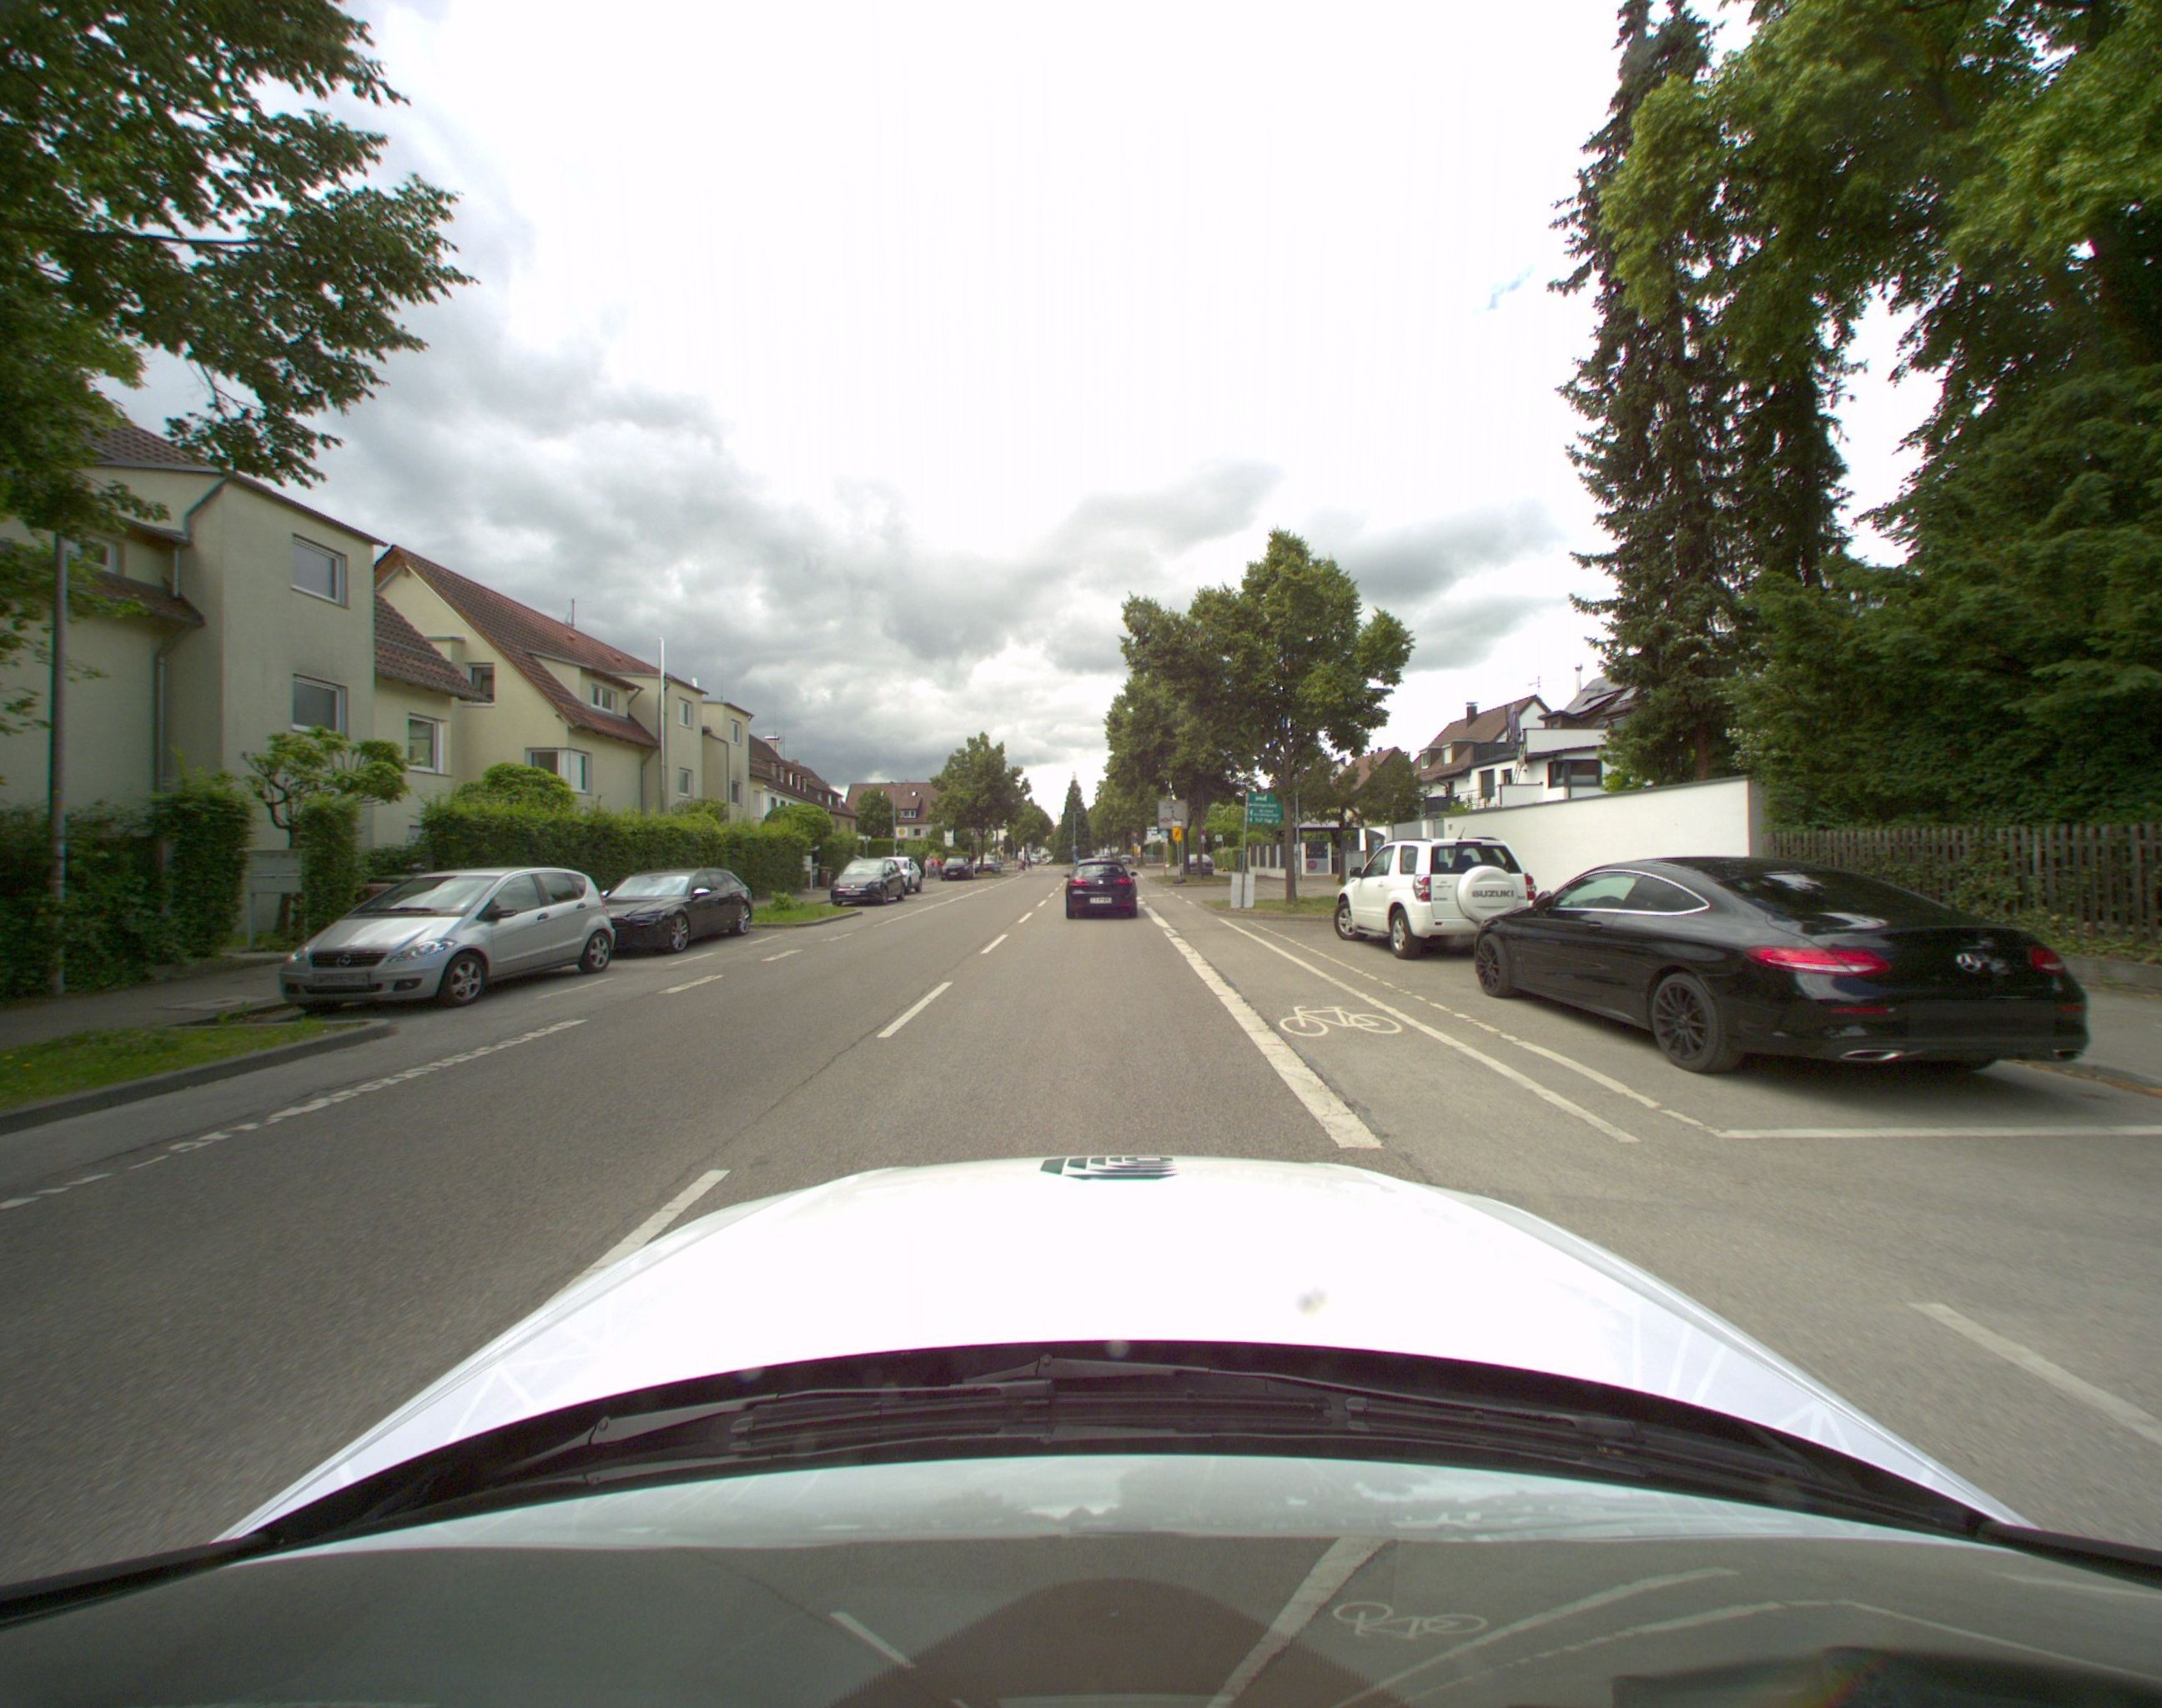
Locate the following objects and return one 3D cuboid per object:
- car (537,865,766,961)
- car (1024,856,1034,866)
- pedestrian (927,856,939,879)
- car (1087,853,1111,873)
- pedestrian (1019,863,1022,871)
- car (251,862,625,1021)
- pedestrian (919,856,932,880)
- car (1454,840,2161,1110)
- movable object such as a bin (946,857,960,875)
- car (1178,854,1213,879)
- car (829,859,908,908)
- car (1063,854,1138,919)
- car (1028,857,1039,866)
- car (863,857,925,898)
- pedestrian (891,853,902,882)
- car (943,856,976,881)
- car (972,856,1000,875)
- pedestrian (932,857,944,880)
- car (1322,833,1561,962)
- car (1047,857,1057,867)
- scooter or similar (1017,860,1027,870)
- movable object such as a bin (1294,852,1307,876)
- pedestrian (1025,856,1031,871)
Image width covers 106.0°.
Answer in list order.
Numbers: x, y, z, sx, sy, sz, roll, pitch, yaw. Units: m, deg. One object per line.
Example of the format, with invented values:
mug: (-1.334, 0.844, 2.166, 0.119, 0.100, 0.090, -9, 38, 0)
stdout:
car: (-8.106, 1.014, 16.025, 1.988, 1.485, 4.886, -2, 0, -2)
car: (-10.809, 1.416, 169.447, 2.025, 1.970, 3.997, -2, 0, -2)
pedestrian: (-10.978, 1.017, 60.327, 0.786, 1.663, 0.590, -1, 0, -7)
car: (1.583, 0.783, 69.635, 1.986, 1.613, 4.001, -1, 0, 2)
pedestrian: (-6.502, 1.398, 87.771, 0.239, 0.894, 0.257, 0, 0, -25)
car: (-7.927, 0.948, 10.609, 1.712, 1.613, 3.910, -2, 0, 0)
pedestrian: (-11.240, 1.018, 58.870, 0.786, 1.663, 0.879, -1, 0, -7)
car: (4.921, 0.643, 6.643, 1.855, 1.417, 4.606, -1, 0, 3)
movable object such as a bin: (-12.011, 1.159, 76.474, 1.202, 1.651, 0.997, 1, -1, -2)
car: (6.906, 0.782, 49.511, 1.606, 1.377, 4.387, -1, -2, 1)
car: (-7.354, 0.961, 28.637, 1.672, 1.552, 4.271, -1, 0, -1)
car: (0.570, 0.768, 20.968, 1.725, 1.486, 4.003, -1, 0, 3)
car: (-8.824, 1.440, 151.349, 1.792, 1.601, 3.999, -2, 0, -1)
car: (-8.164, 0.994, 35.965, 1.816, 1.634, 4.582, -2, 0, -2)
pedestrian: (-11.566, 0.838, 51.158, 0.502, 1.806, 0.671, -1, 0, 0)
car: (-8.535, 0.993, 57.505, 1.719, 1.725, 4.562, -1, 0, -1)
car: (-8.597, 1.020, 73.950, 1.854, 1.653, 4.295, -1, 0, 1)
pedestrian: (-10.454, 1.037, 59.441, 0.786, 1.663, 0.752, -1, -1, -7)
car: (5.302, 0.583, 12.659, 1.894, 1.642, 4.116, -1, -1, 1)
car: (-4.815, 1.375, 135.491, 1.563, 1.634, 3.621, -1, 0, 0)
scooter or similar: (-6.390, 1.217, 88.132, 0.971, 1.095, 0.404, 1, -1, -24)
movable object such as a bin: (10.193, 0.460, 37.835, 0.435, 1.109, 0.455, -2, -1, 2)
pedestrian: (-5.715, 1.056, 88.529, 0.516, 1.669, 0.480, -1, -1, -19)
